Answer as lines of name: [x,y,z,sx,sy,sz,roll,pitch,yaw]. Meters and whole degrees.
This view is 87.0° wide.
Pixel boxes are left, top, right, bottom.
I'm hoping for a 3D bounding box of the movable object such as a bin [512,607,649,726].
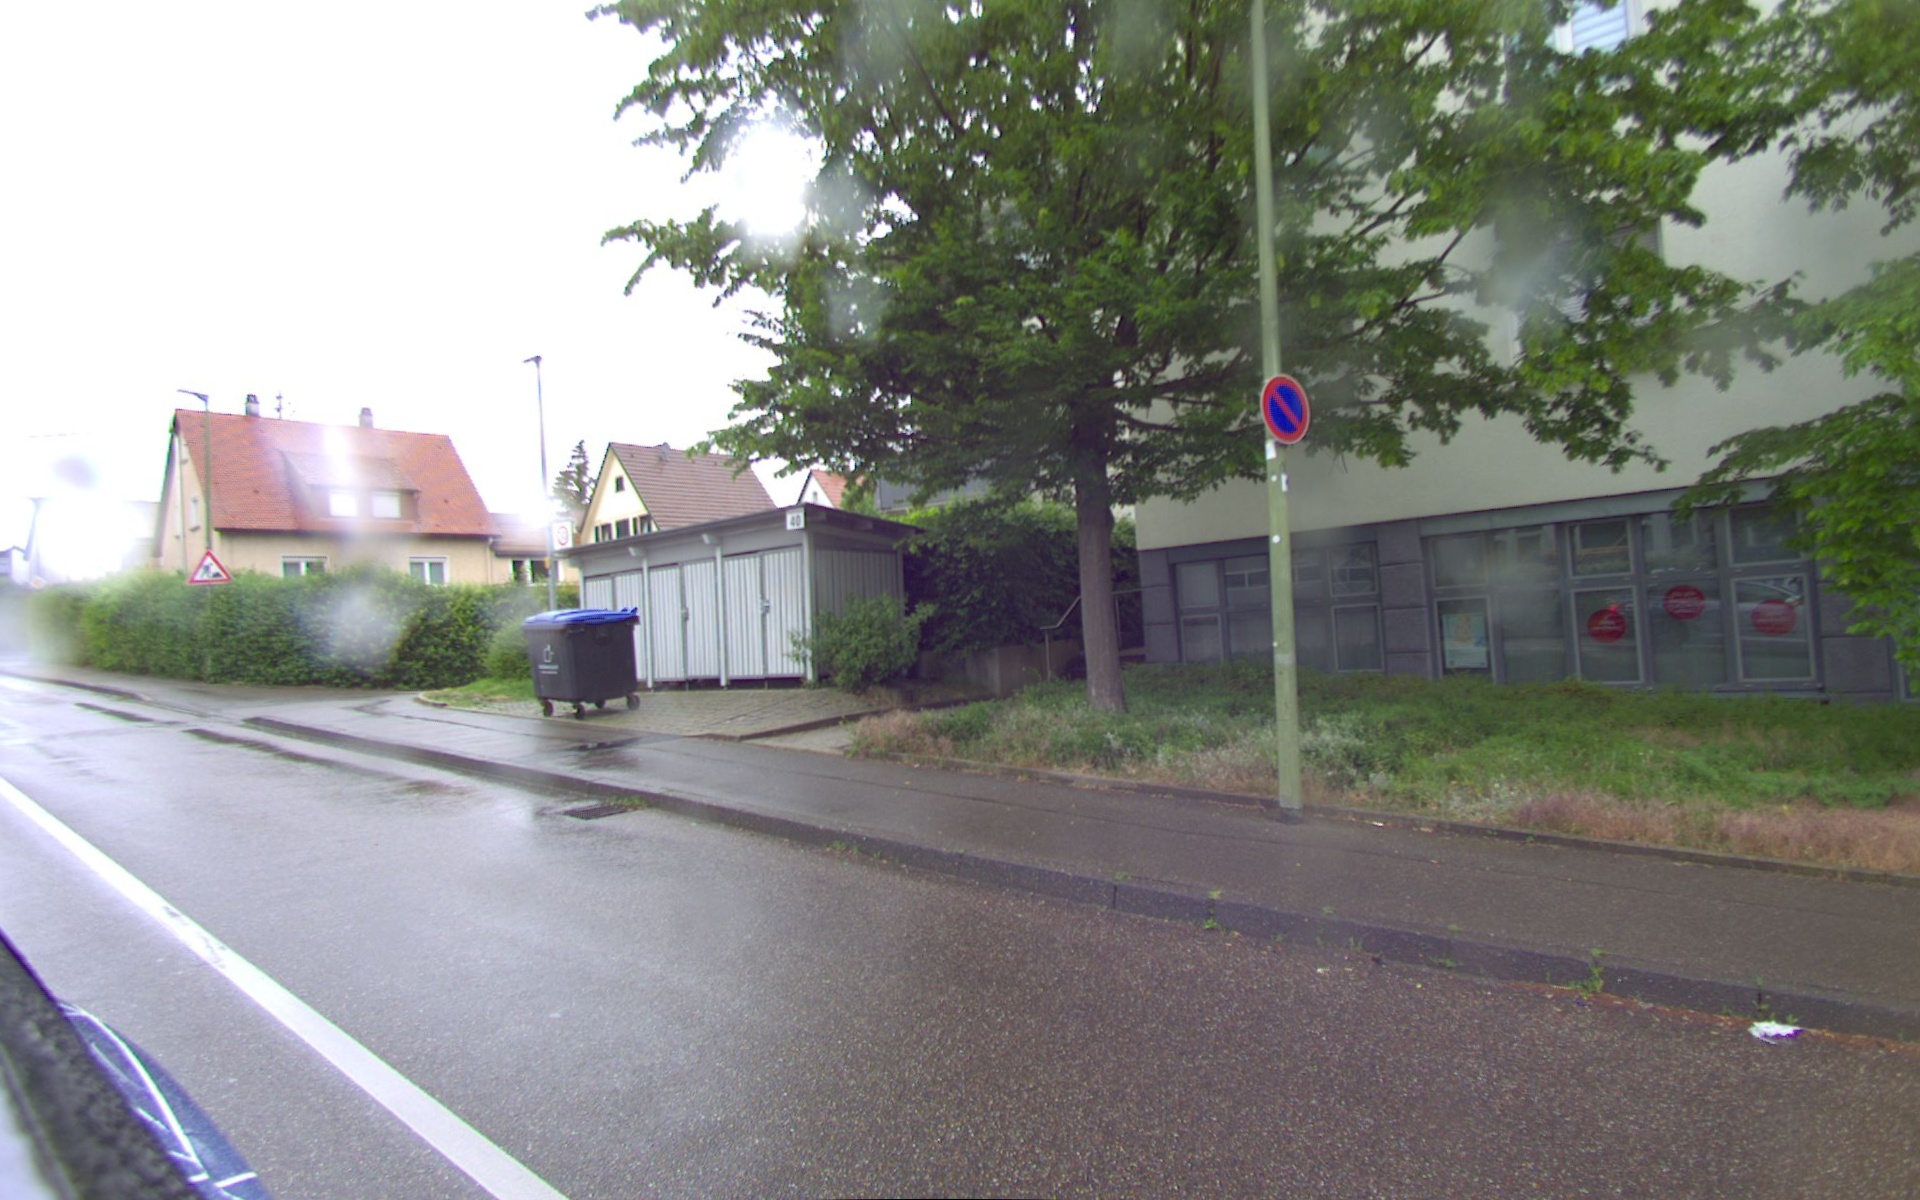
movable object such as a bin: [-4.746,0.811,12.657,1.201,1.306,1.043,-3,3,41]
